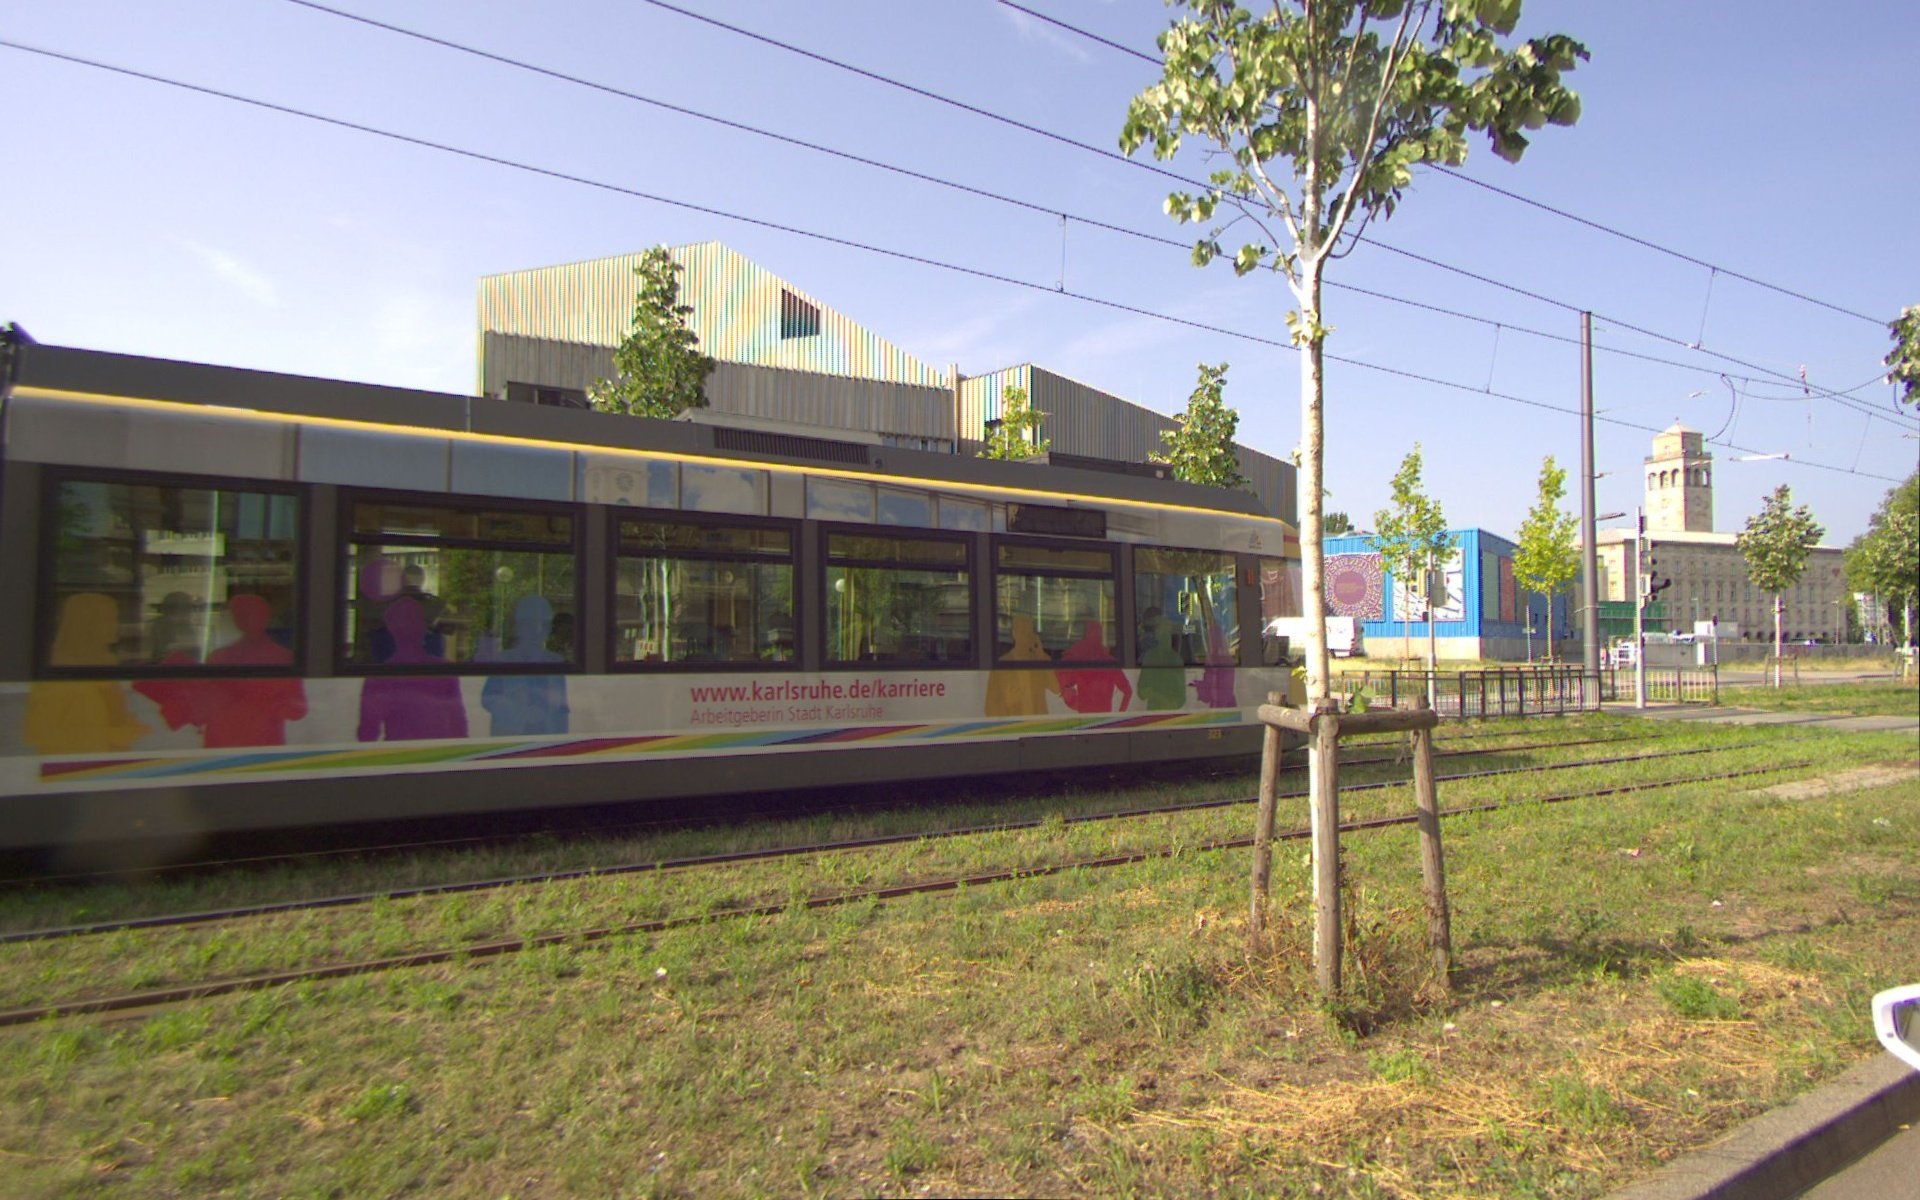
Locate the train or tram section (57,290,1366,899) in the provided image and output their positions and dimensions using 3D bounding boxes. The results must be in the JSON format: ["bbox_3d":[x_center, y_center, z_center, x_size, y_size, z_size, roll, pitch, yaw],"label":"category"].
[{"bbox_3d":[-0.894,0.211,10.409,12.088,3.633,2.883,2,-3,-32],"label":"train or tram section"}]

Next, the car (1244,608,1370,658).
[{"bbox_3d":[21.092,1.973,61.295,6.789,2.673,2.504,2,0,38],"label":"car"}]

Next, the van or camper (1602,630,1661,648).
[{"bbox_3d":[81.901,4.742,122.572,6.335,2.113,2.556,1,-2,-17],"label":"van or camper"}]

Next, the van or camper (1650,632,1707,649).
[{"bbox_3d":[89.328,5.036,124.890,6.335,2.113,2.556,1,-2,-17],"label":"van or camper"}]

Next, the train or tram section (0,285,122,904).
[{"bbox_3d":[-11.720,-0.191,3.718,12.789,3.633,2.883,2,-3,-32],"label":"train or tram section"}]
